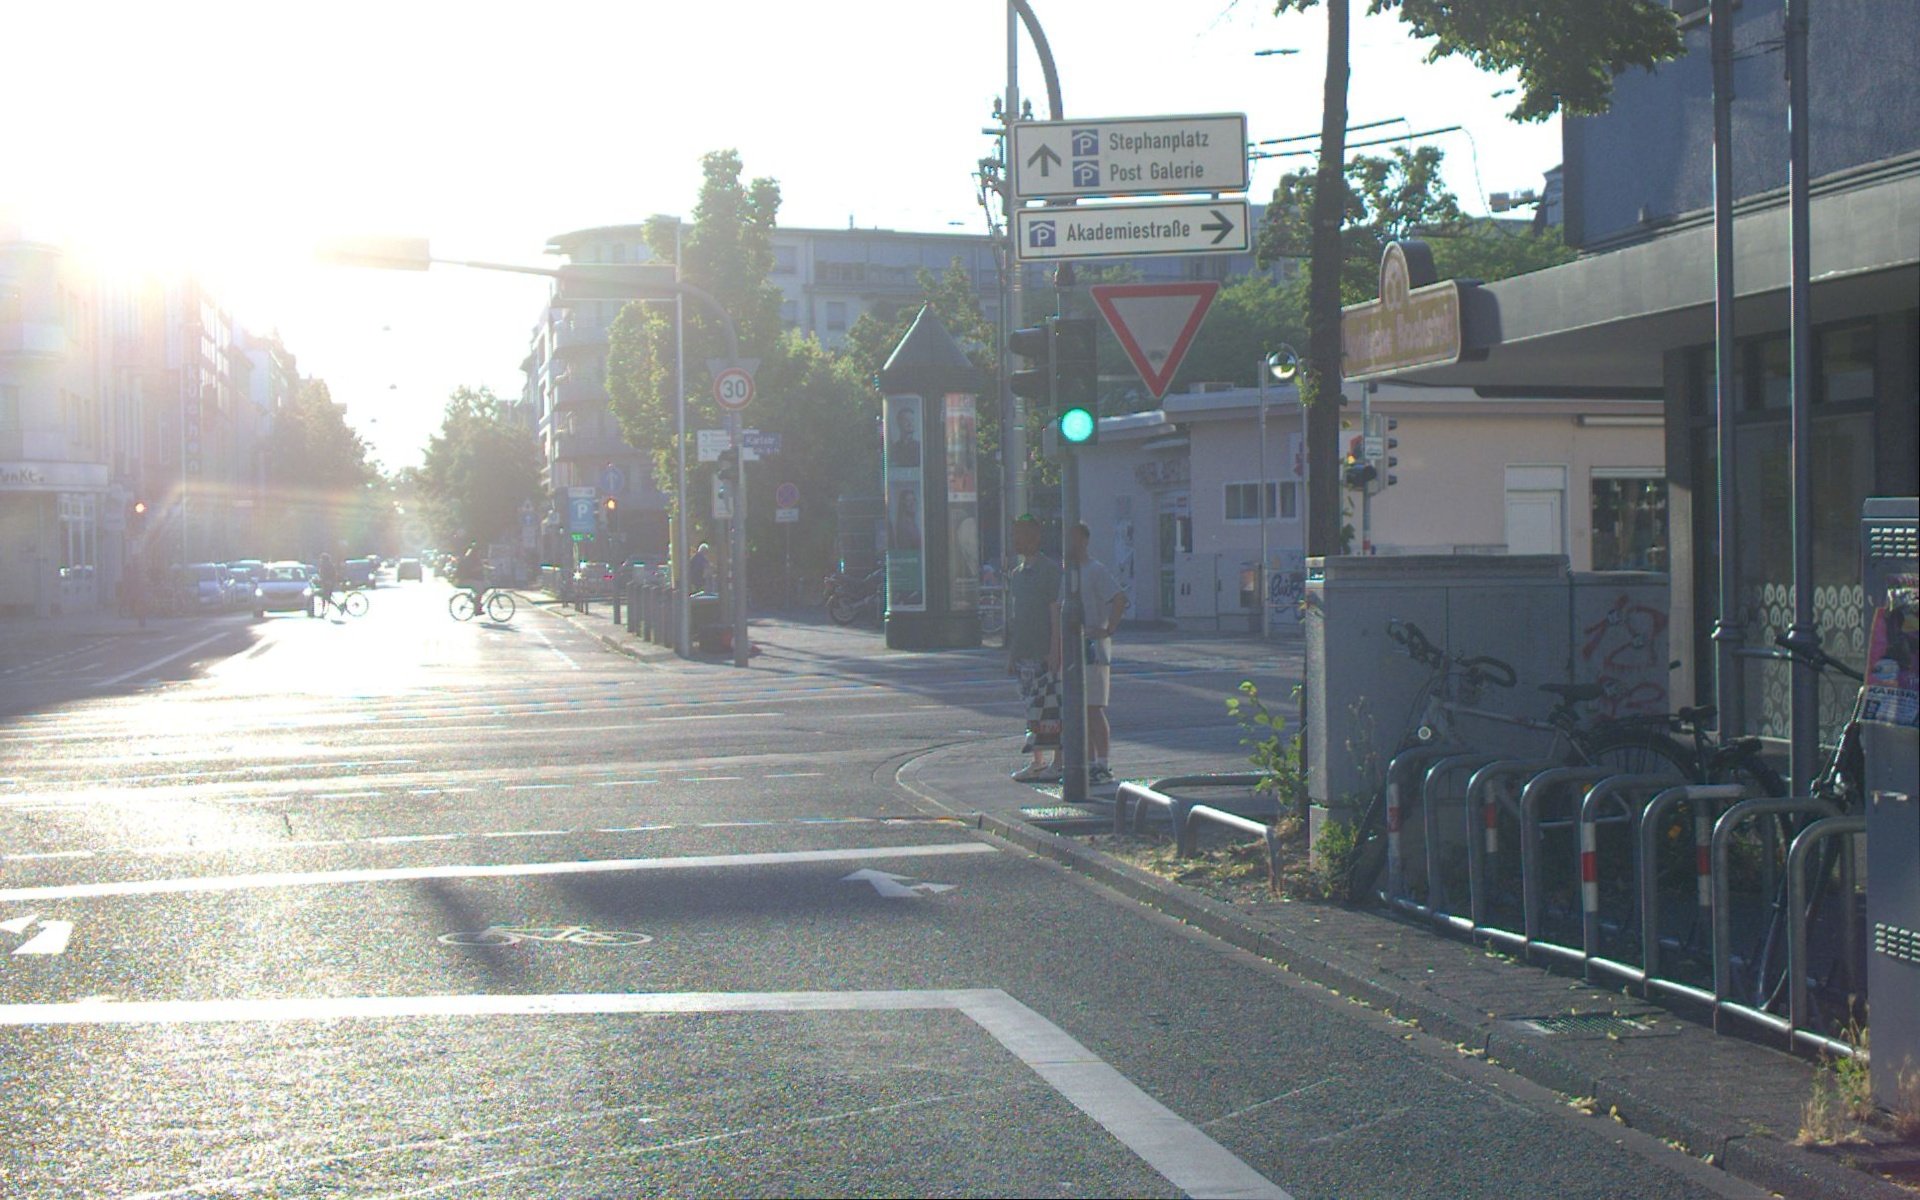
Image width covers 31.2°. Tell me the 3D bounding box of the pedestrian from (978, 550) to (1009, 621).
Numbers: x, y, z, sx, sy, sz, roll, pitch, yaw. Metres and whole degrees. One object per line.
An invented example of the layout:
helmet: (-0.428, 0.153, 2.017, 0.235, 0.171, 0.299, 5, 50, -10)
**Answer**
pedestrian: (0.792, -0.346, 81.054, 0.680, 1.651, 0.696, 1, 0, -1)

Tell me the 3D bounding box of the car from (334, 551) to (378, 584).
car: (-31.433, -1.696, 179.045, 1.993, 1.678, 4.001, -1, 1, -7)

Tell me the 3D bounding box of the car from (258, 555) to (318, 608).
car: (-18.818, -0.510, 96.342, 1.544, 1.463, 3.353, 0, 0, -9)

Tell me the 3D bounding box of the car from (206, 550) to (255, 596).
car: (-24.909, -0.919, 117.400, 1.482, 1.554, 3.259, 0, 0, -9)

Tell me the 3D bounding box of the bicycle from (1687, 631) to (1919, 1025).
bicycle: (3.205, 0.702, 11.138, 1.656, 1.190, 0.494, -1, 1, -21)

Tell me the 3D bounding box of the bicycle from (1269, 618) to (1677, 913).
bicycle: (2.181, 0.685, 14.612, 1.656, 1.190, 0.477, -1, 1, -14)

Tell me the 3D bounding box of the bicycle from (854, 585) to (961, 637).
bicycle: (-1.021, 0.211, 67.279, 2.077, 0.979, 0.560, -1, 0, -1)

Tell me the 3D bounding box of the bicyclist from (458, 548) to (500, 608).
bicyclist: (-11.955, -0.538, 85.414, 0.899, 1.476, 0.735, 1, 0, 3)

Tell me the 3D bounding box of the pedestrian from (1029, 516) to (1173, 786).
pedestrian: (0.942, 0.331, 23.107, 0.637, 1.767, 0.749, -2, 1, -29)

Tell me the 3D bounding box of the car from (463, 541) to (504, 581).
car: (-24.161, -1.962, 174.278, 1.993, 2.007, 4.001, 1, 0, -7)

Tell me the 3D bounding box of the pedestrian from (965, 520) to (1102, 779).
pedestrian: (0.510, 0.335, 23.989, 0.585, 1.767, 0.749, -1, 1, -39)

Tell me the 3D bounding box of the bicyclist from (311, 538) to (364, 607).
bicyclist: (-16.175, -0.714, 89.295, 1.130, 1.784, 0.764, 1, 0, 14)

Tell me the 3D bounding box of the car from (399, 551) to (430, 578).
car: (-37.939, -2.487, 239.075, 1.993, 1.810, 4.001, 1, 0, -7)

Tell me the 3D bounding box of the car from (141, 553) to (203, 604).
car: (-22.918, -0.619, 100.026, 1.544, 1.464, 3.353, 0, 0, -9)

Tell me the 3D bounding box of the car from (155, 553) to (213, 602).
car: (-23.679, -0.675, 104.949, 1.544, 1.464, 3.353, 0, 0, -9)

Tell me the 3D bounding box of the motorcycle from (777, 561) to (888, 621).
motorcycle: (-2.618, -0.190, 70.339, 2.234, 1.197, 0.720, -1, 1, -3)

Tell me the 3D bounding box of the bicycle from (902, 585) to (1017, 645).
bicycle: (-0.013, 0.266, 61.559, 2.020, 1.041, 0.560, -1, 0, -1)

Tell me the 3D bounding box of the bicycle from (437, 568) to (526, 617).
bicycle: (-11.894, -0.182, 85.412, 2.118, 1.200, 0.500, 1, 0, 3)

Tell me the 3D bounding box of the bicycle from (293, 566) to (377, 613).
bicycle: (-16.236, -0.266, 89.272, 2.119, 1.200, 0.500, 1, 0, 13)

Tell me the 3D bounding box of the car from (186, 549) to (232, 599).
car: (-24.368, -0.840, 111.626, 1.306, 1.577, 2.889, 0, 0, -9)

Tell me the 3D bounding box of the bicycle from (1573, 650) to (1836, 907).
bicycle: (3.285, 0.762, 15.299, 0.403, 1.007, 1.671, -3, 2, -14)

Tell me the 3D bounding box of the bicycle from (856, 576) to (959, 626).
bicycle: (-1.047, 0.022, 68.790, 2.038, 0.973, 0.560, -1, 0, -1)

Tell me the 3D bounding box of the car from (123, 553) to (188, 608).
car: (-22.542, -0.564, 96.398, 1.544, 1.478, 3.353, -1, 1, -9)
